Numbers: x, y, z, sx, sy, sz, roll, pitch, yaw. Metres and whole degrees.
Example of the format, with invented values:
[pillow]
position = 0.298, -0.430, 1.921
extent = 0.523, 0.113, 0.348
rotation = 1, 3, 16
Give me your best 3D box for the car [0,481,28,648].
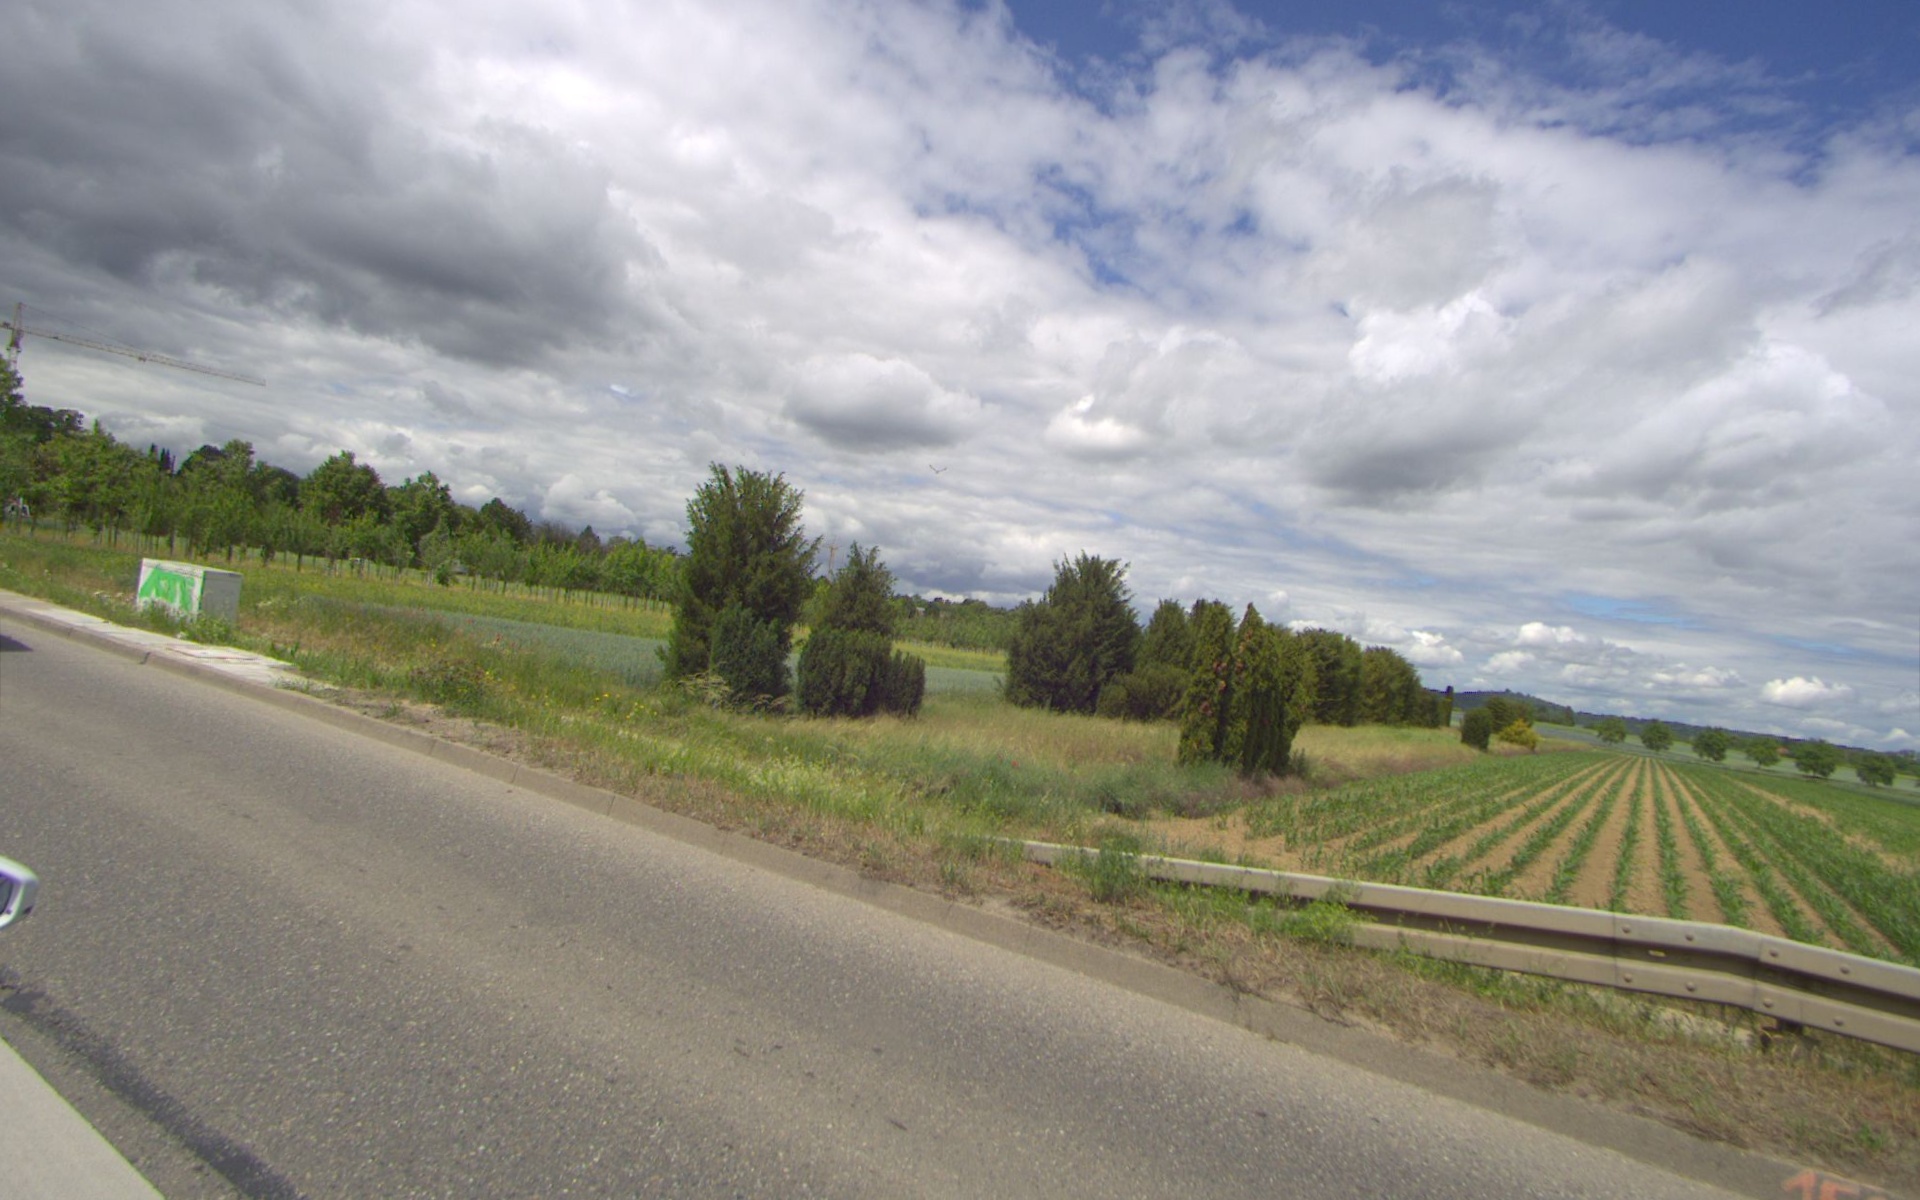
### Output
[car]
position = -11.128, -0.580, 9.770
extent = 4.269, 1.544, 1.960
rotation = 6, 0, 33
